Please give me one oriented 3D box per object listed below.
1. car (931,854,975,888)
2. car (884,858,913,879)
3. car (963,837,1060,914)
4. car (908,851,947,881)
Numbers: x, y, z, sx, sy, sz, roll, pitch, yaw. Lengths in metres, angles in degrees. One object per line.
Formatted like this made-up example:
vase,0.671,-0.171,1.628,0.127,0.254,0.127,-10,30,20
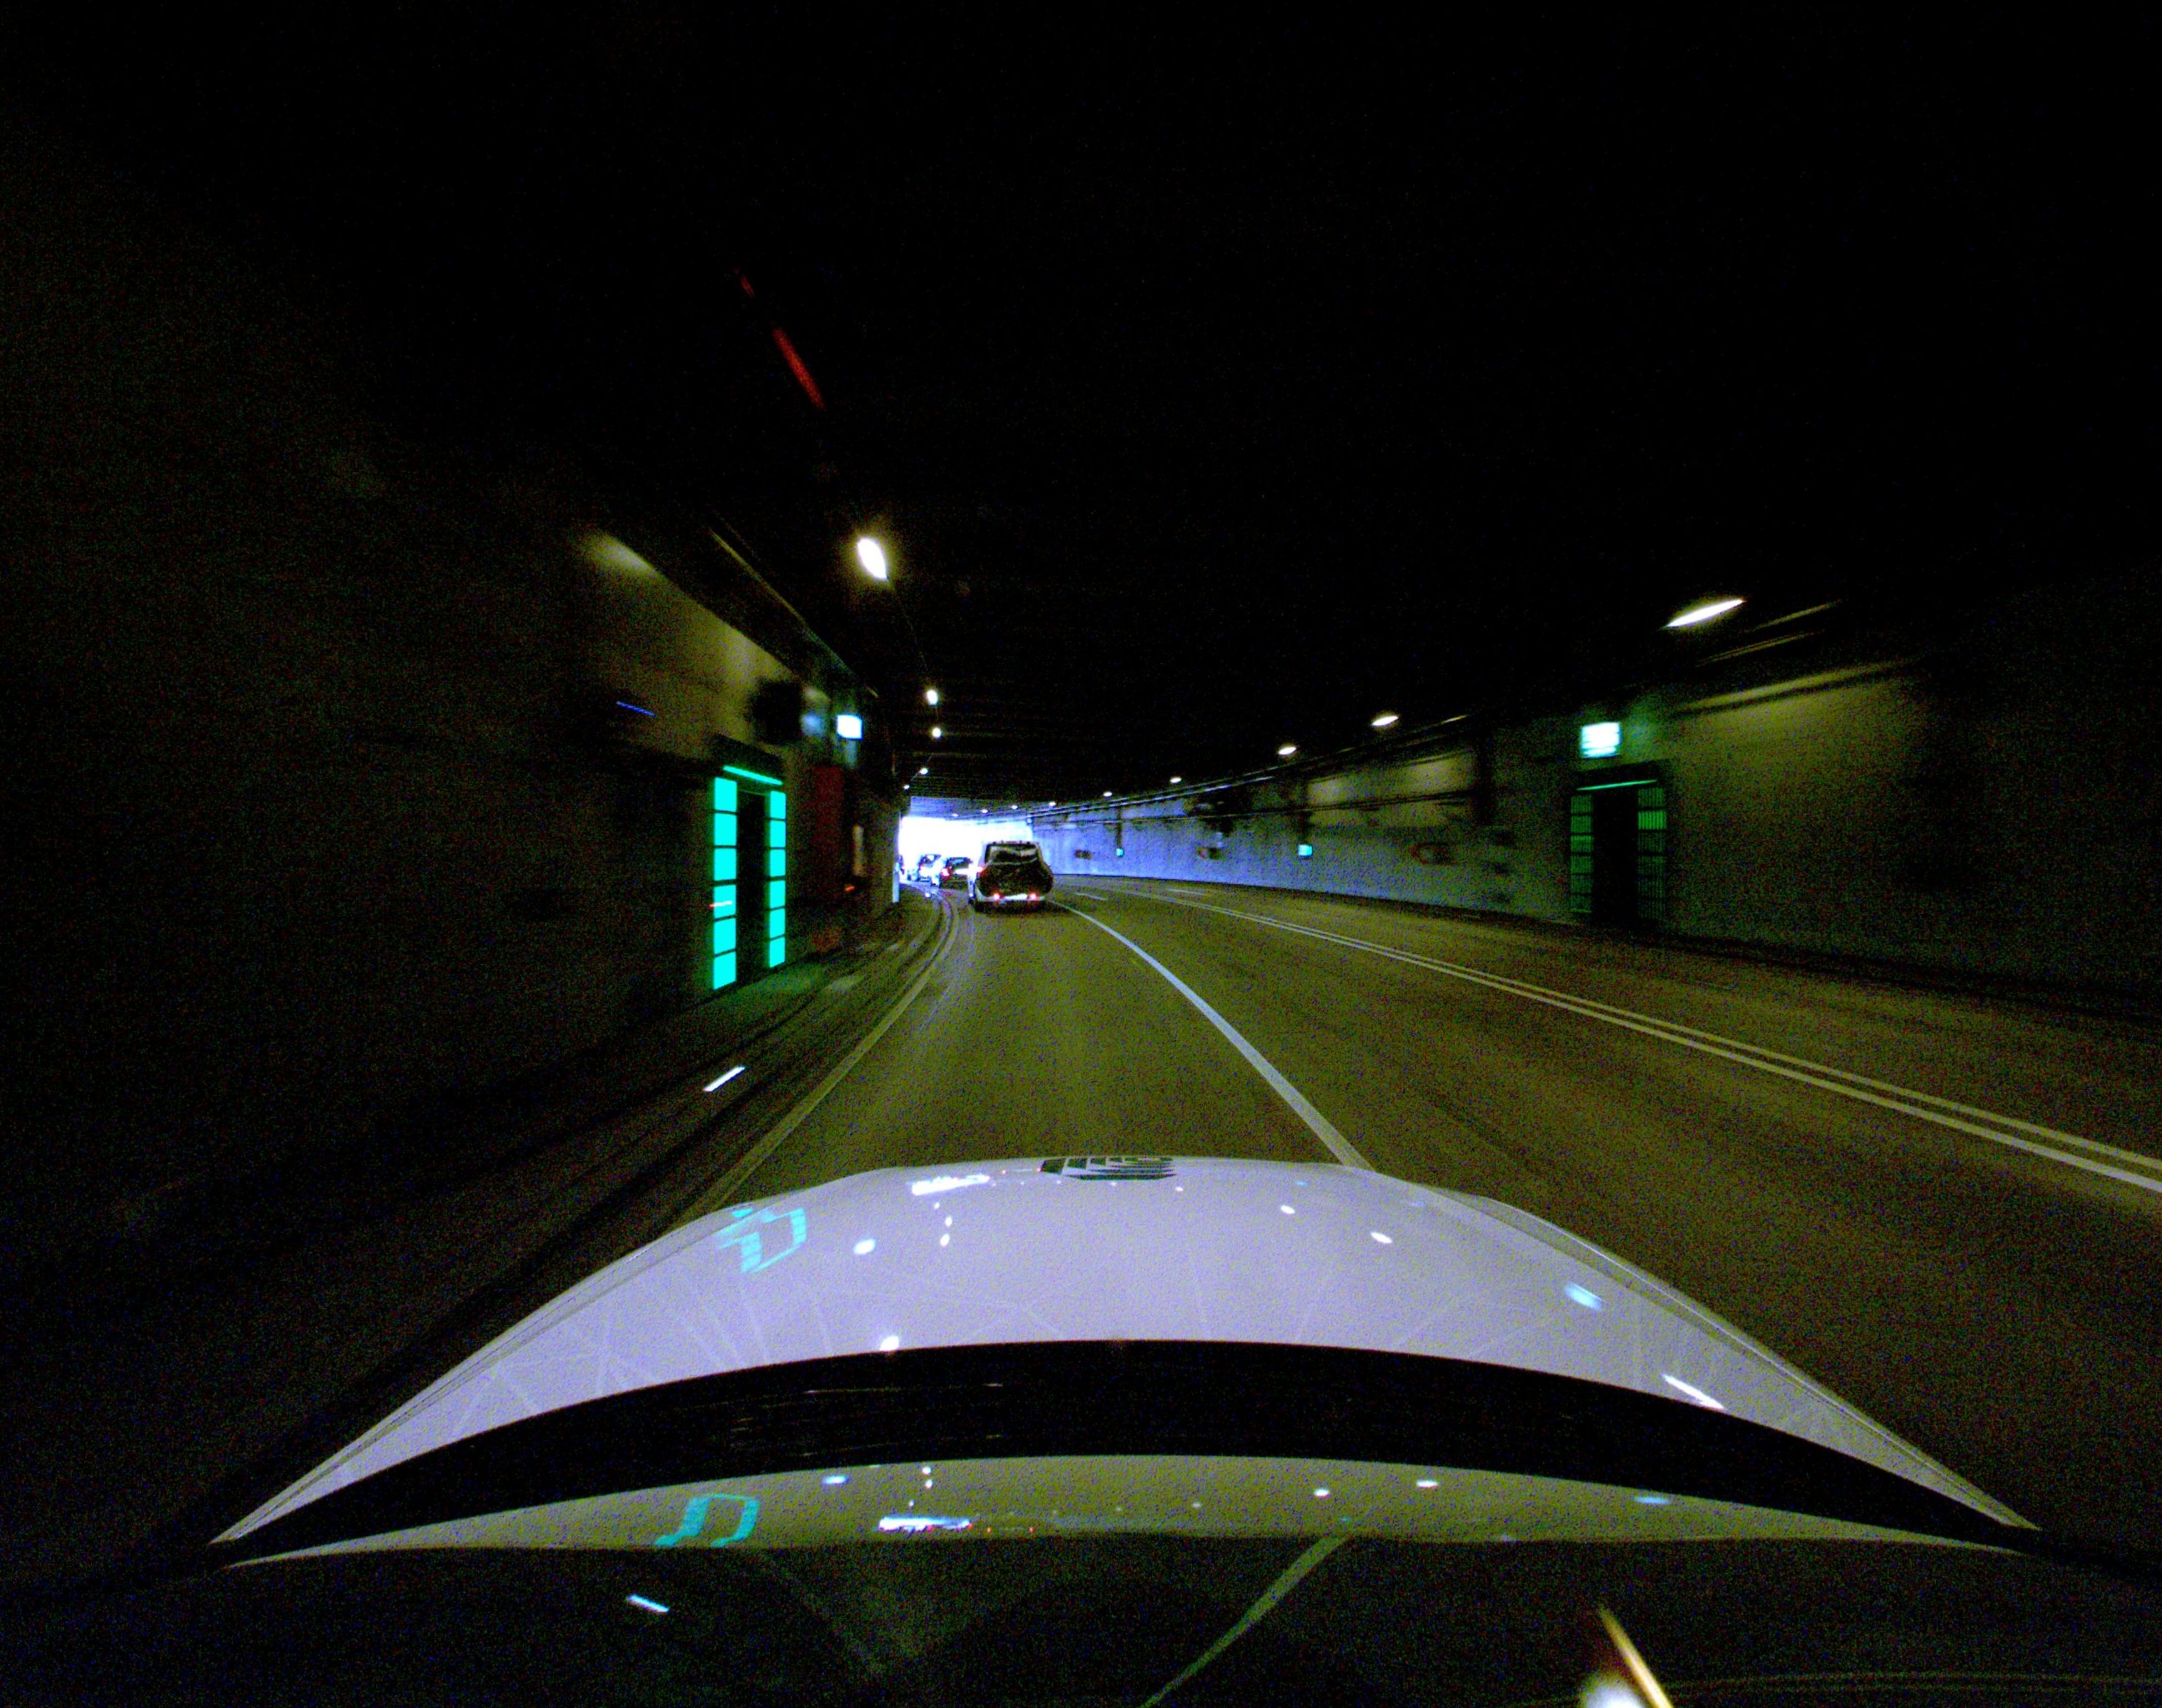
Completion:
car,-5.774,0.731,36.486,1.605,1.395,3.261,-2,1,-15
car,-14.848,1.141,66.118,1.611,1.630,3.327,1,0,-25
car,-2.065,0.498,22.478,1.995,1.847,5.279,-1,0,-12
car,-8.623,0.641,45.534,1.608,1.594,3.333,1,0,-20
